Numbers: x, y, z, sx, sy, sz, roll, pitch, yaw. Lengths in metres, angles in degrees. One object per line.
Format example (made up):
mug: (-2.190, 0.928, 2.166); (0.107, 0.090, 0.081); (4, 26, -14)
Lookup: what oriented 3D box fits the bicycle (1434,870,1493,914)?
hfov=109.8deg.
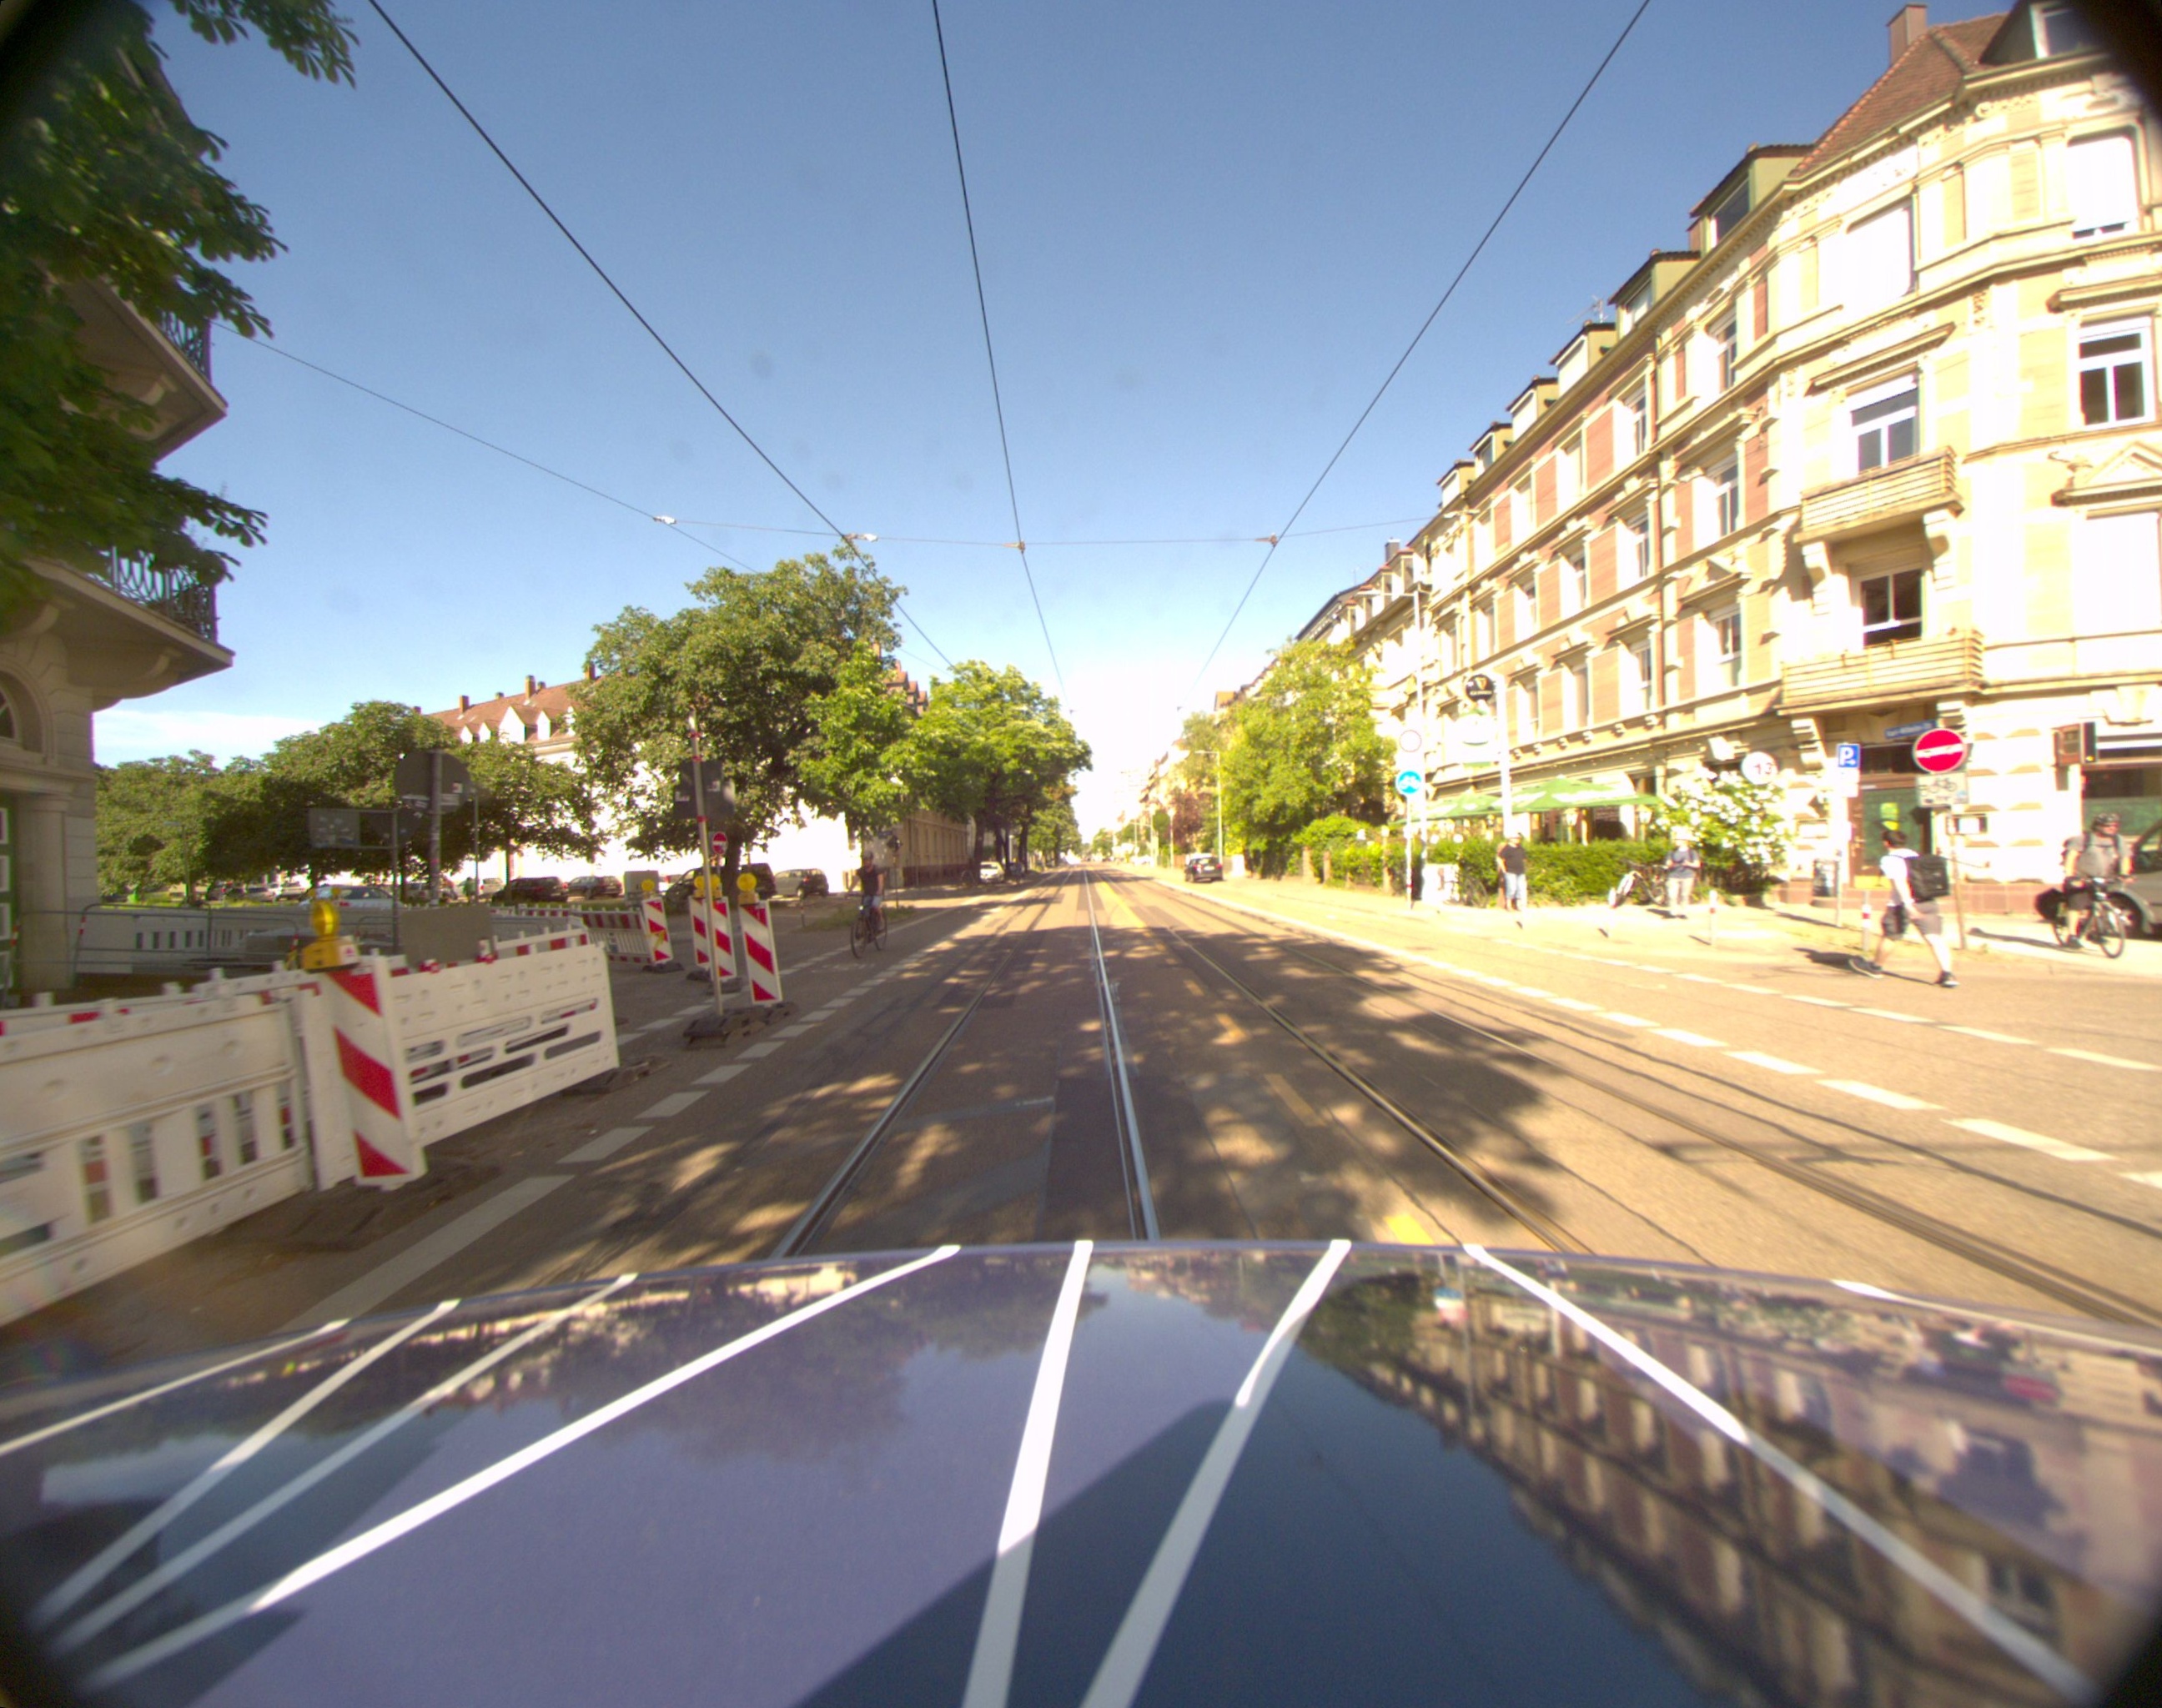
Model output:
bicycle: (9.335, 0.916, 18.609); (0.528, 0.975, 1.777); (-2, 0, 1)

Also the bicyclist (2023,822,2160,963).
bicyclist: (13.866, 0.497, 10.468); (0.705, 1.843, 0.987); (-1, 2, 21)

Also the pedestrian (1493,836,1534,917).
pedestrian: (9.672, 0.496, 17.007); (0.558, 1.771, 0.538); (-2, 1, -3)

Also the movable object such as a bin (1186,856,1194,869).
movable object such as a bin: (10.252, 0.792, 71.532); (0.590, 1.169, 0.665); (-2, 0, -4)

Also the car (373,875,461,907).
car: (-39.177, 2.185, 44.810); (5.054, 1.621, 2.003); (-2, 2, 26)

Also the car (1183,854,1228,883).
car: (7.212, 0.822, 44.392); (1.869, 1.567, 4.588); (0, 0, 0)

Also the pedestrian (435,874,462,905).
pedestrian: (-33.850, 1.896, 40.666); (0.572, 1.559, 0.845); (-2, 1, 24)

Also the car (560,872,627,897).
car: (-29.547, 1.845, 46.036); (3.952, 1.408, 1.642); (-2, 2, 28)

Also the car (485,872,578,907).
car: (-28.821, 1.846, 39.867); (4.608, 1.601, 1.938); (-2, 2, 26)

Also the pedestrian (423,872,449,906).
pedestrian: (-35.539, 1.931, 41.869); (0.572, 1.831, 0.845); (-2, 1, 24)

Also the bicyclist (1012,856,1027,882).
bicyclist: (-3.708, 0.887, 46.060); (0.776, 1.505, 1.229); (-2, 0, -2)

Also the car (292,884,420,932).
car: (-23.999, 1.734, 25.135); (3.962, 1.477, 1.791); (-2, -2, 26)

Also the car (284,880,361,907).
car: (-50.249, 2.613, 50.293); (5.054, 1.621, 2.003); (-2, 2, 26)

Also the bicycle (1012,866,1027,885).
bicycle: (-3.699, 1.288, 46.059); (0.776, 1.080, 2.058); (-2, 0, -2)

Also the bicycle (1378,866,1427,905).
bicycle: (9.510, 0.904, 22.531); (0.515, 1.032, 2.223); (-2, 0, 1)

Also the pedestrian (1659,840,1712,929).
pedestrian: (11.605, 0.560, 14.609); (0.705, 1.645, 0.834); (0, 2, 32)

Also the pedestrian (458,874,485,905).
pedestrian: (-31.753, 1.827, 39.604); (0.572, 1.559, 0.845); (-2, 1, 24)

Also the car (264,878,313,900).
car: (-69.270, 3.027, 66.407); (4.032, 1.709, 1.785); (-2, 3, 28)

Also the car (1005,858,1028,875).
car: (-5.851, 1.116, 69.233); (1.824, 1.475, 4.748); (0, 0, -2)

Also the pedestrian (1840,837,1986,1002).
pedestrian: (9.328, 0.700, 8.556); (0.693, 1.758, 0.866); (-1, 1, 4)

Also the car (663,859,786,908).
car: (-15.515, 1.271, 33.042); (5.054, 1.880, 2.003); (-2, 2, 26)

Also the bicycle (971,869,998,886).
bicycle: (-5.784, 1.420, 45.641); (1.570, 0.974, 0.640); (0, 0, -8)

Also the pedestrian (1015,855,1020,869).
pedestrian: (-8.923, 1.160, 106.694); (0.743, 2.002, 0.687); (-2, 0, -8)

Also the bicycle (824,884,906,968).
bicycle: (-3.696, 1.192, 13.216); (0.763, 1.235, 2.096); (-3, 0, 0)

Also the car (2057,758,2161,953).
car: (16.298, 0.027, 9.951); (1.889, 2.825, 4.788); (-1, 2, 17)

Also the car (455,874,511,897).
car: (-41.040, 2.159, 52.125); (3.627, 1.491, 1.642); (-2, 2, 28)

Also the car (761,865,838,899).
car: (-14.257, 1.393, 38.445); (3.431, 1.530, 1.725); (-2, 3, 28)

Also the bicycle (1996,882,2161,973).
bicycle: (13.903, 0.967, 10.547); (0.705, 1.049, 1.837); (-1, 2, 21)

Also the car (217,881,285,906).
car: (-61.684, 2.940, 56.440); (5.054, 1.621, 2.003); (-2, 2, 26)

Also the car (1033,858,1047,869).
car: (-5.576, 1.254, 103.874); (1.761, 1.458, 4.613); (0, 0, -2)

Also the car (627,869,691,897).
car: (-24.018, 1.646, 43.247); (3.493, 1.491, 1.441); (-2, 2, 28)

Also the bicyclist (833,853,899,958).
bicyclist: (-3.713, 0.858, 13.219); (0.763, 1.728, 1.046); (-3, 0, 0)

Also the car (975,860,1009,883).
car: (-5.923, 1.155, 50.933); (1.705, 1.463, 4.214); (0, 0, 1)

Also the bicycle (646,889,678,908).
bicycle: (-17.498, 1.850, 31.728); (1.379, 0.773, 0.420); (-1, 1, 25)

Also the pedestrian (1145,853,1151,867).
pedestrian: (9.110, 0.824, 103.051); (0.809, 1.825, 0.754); (-1, 0, 9)

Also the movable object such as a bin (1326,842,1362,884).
movable object such as a bin: (11.403, 0.398, 33.000); (1.287, 1.721, 1.043); (-4, 0, 16)

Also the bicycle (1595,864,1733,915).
bicycle: (12.777, 0.774, 16.720); (2.244, 1.038, 0.876); (-2, 2, 10)
